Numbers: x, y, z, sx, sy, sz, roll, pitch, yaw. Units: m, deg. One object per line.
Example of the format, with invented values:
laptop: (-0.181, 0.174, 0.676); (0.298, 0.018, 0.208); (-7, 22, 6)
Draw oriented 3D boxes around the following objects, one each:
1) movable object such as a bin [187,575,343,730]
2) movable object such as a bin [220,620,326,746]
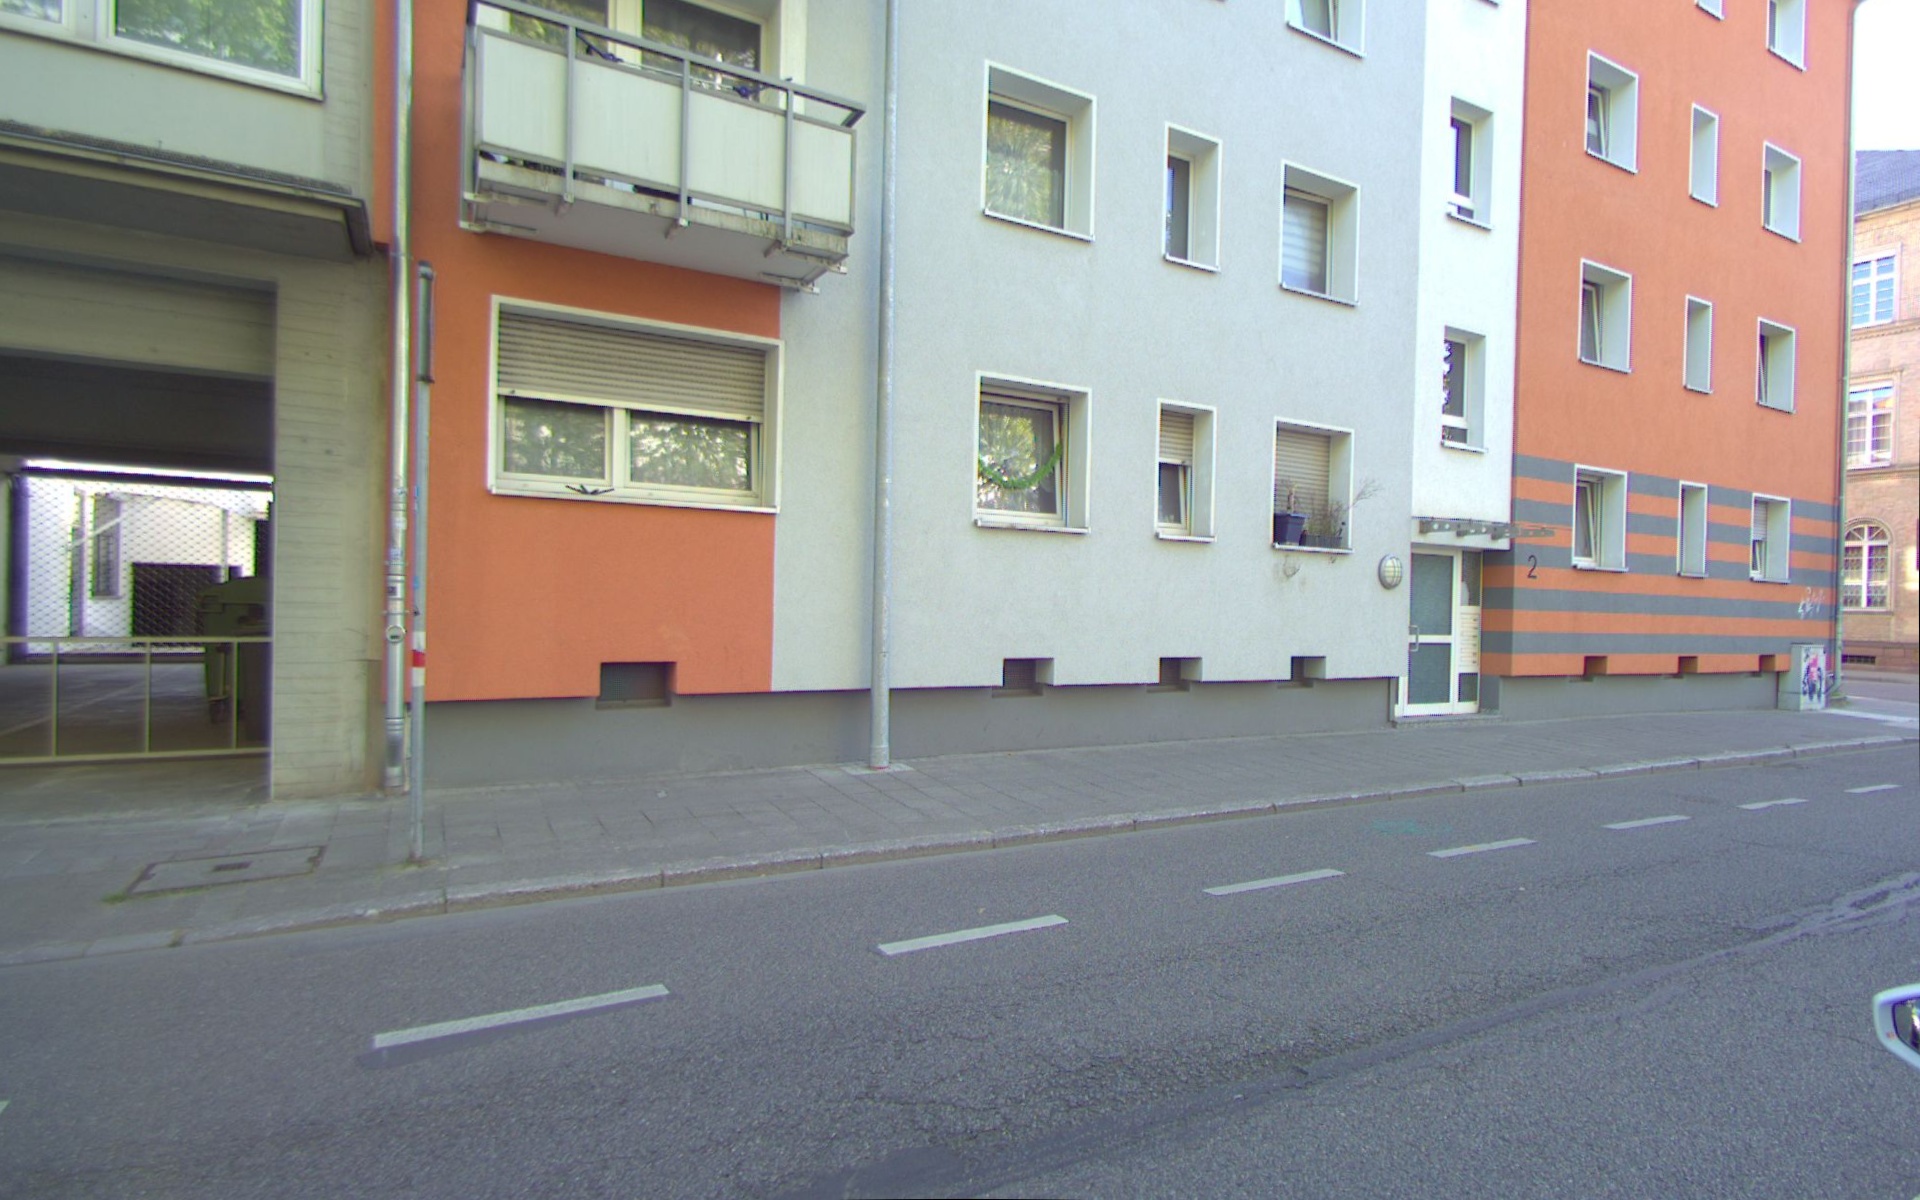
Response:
movable object such as a bin: (-7.134, 0.507, 10.407); (1.128, 1.484, 1.255); (2, 0, -27)
movable object such as a bin: (-6.160, 0.726, 9.037); (0.694, 1.061, 0.567); (2, 1, -27)
